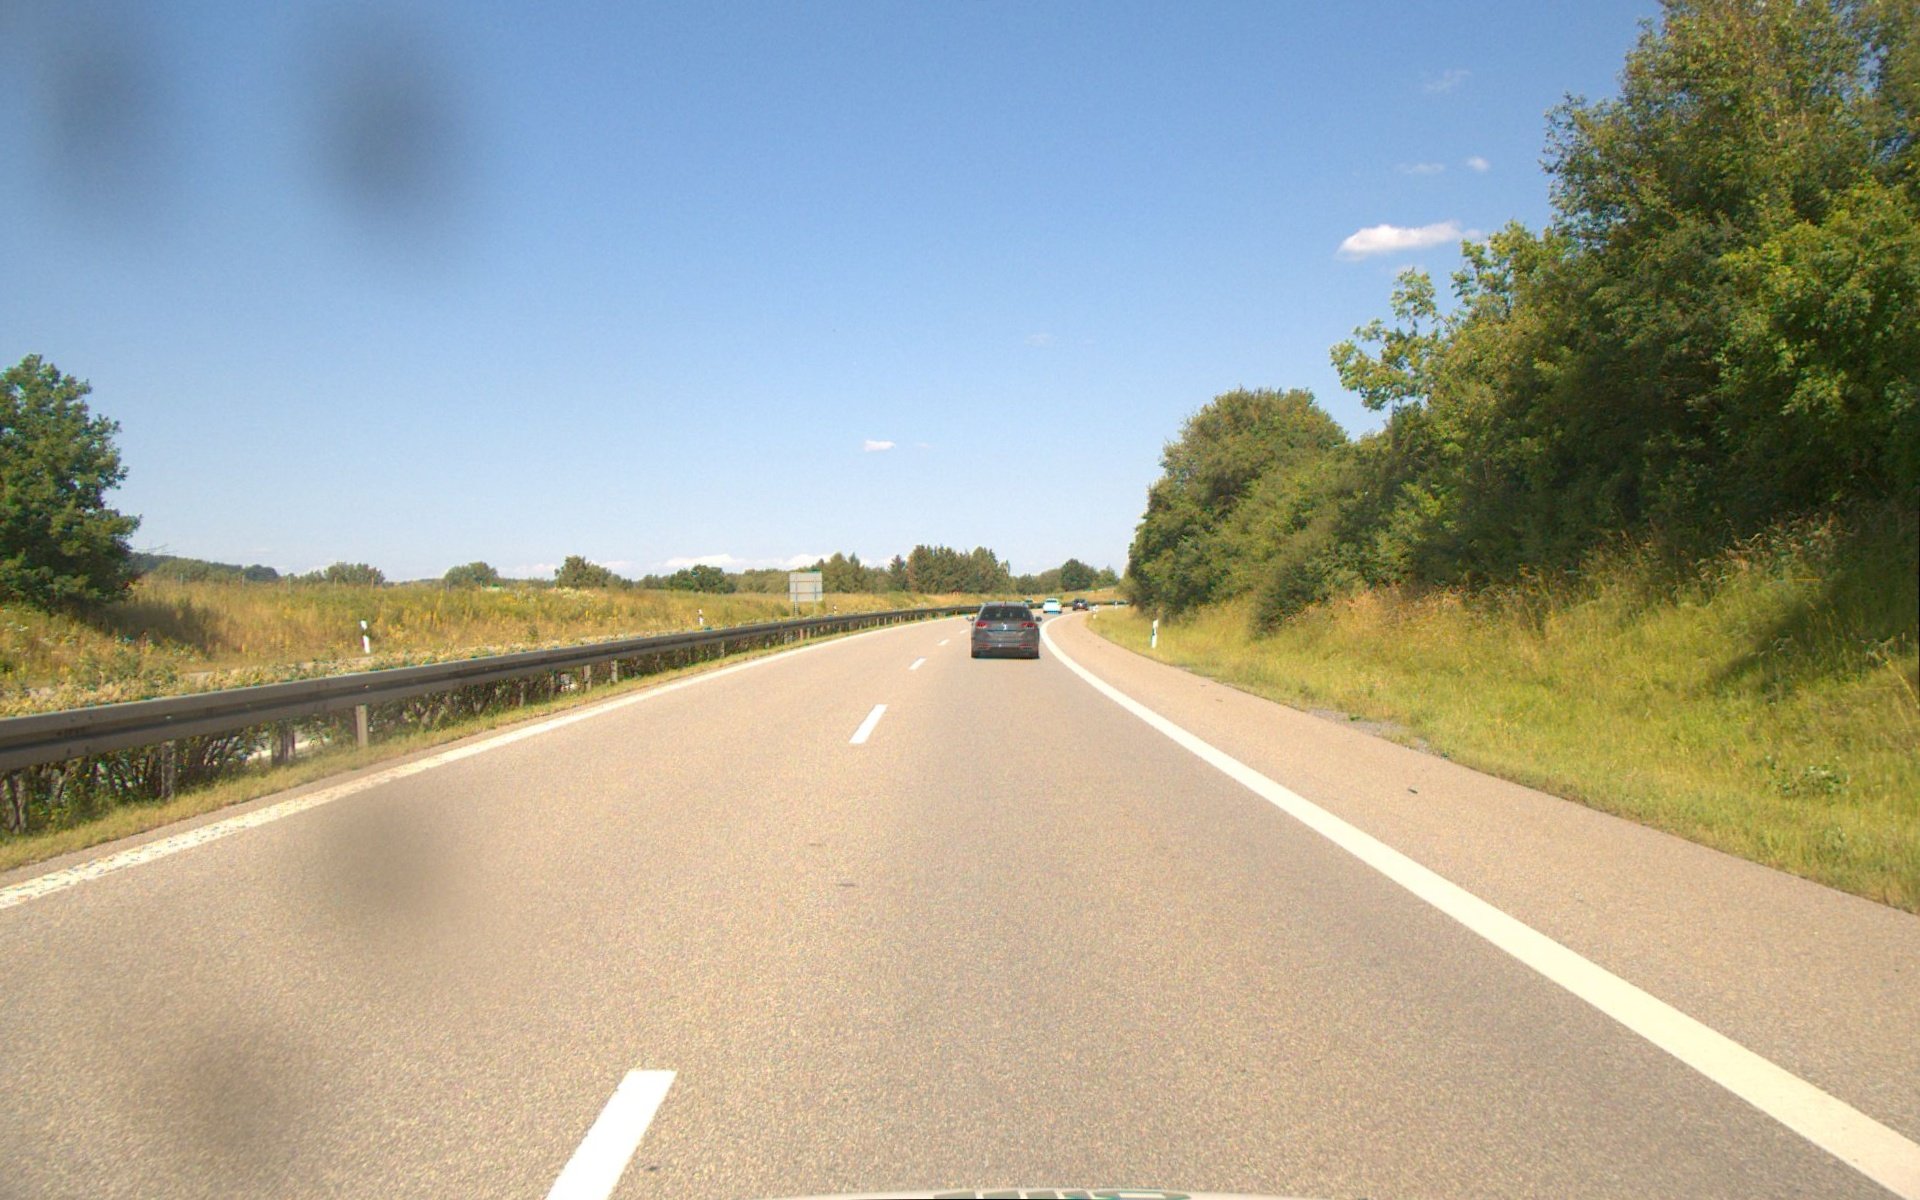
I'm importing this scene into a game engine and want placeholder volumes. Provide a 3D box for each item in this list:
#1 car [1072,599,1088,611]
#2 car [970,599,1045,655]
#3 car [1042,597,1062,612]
[{"bbox_3d":[14.512,0.592,200.455,1.674,1.411,3.357,1,-1,8],"label":"car"},{"bbox_3d":[1.199,0.664,43.161,1.754,1.368,3.999,1,0,-1],"label":"car"},{"bbox_3d":[9.229,0.454,165.263,1.965,1.368,4.001,2,-1,3],"label":"car"}]
